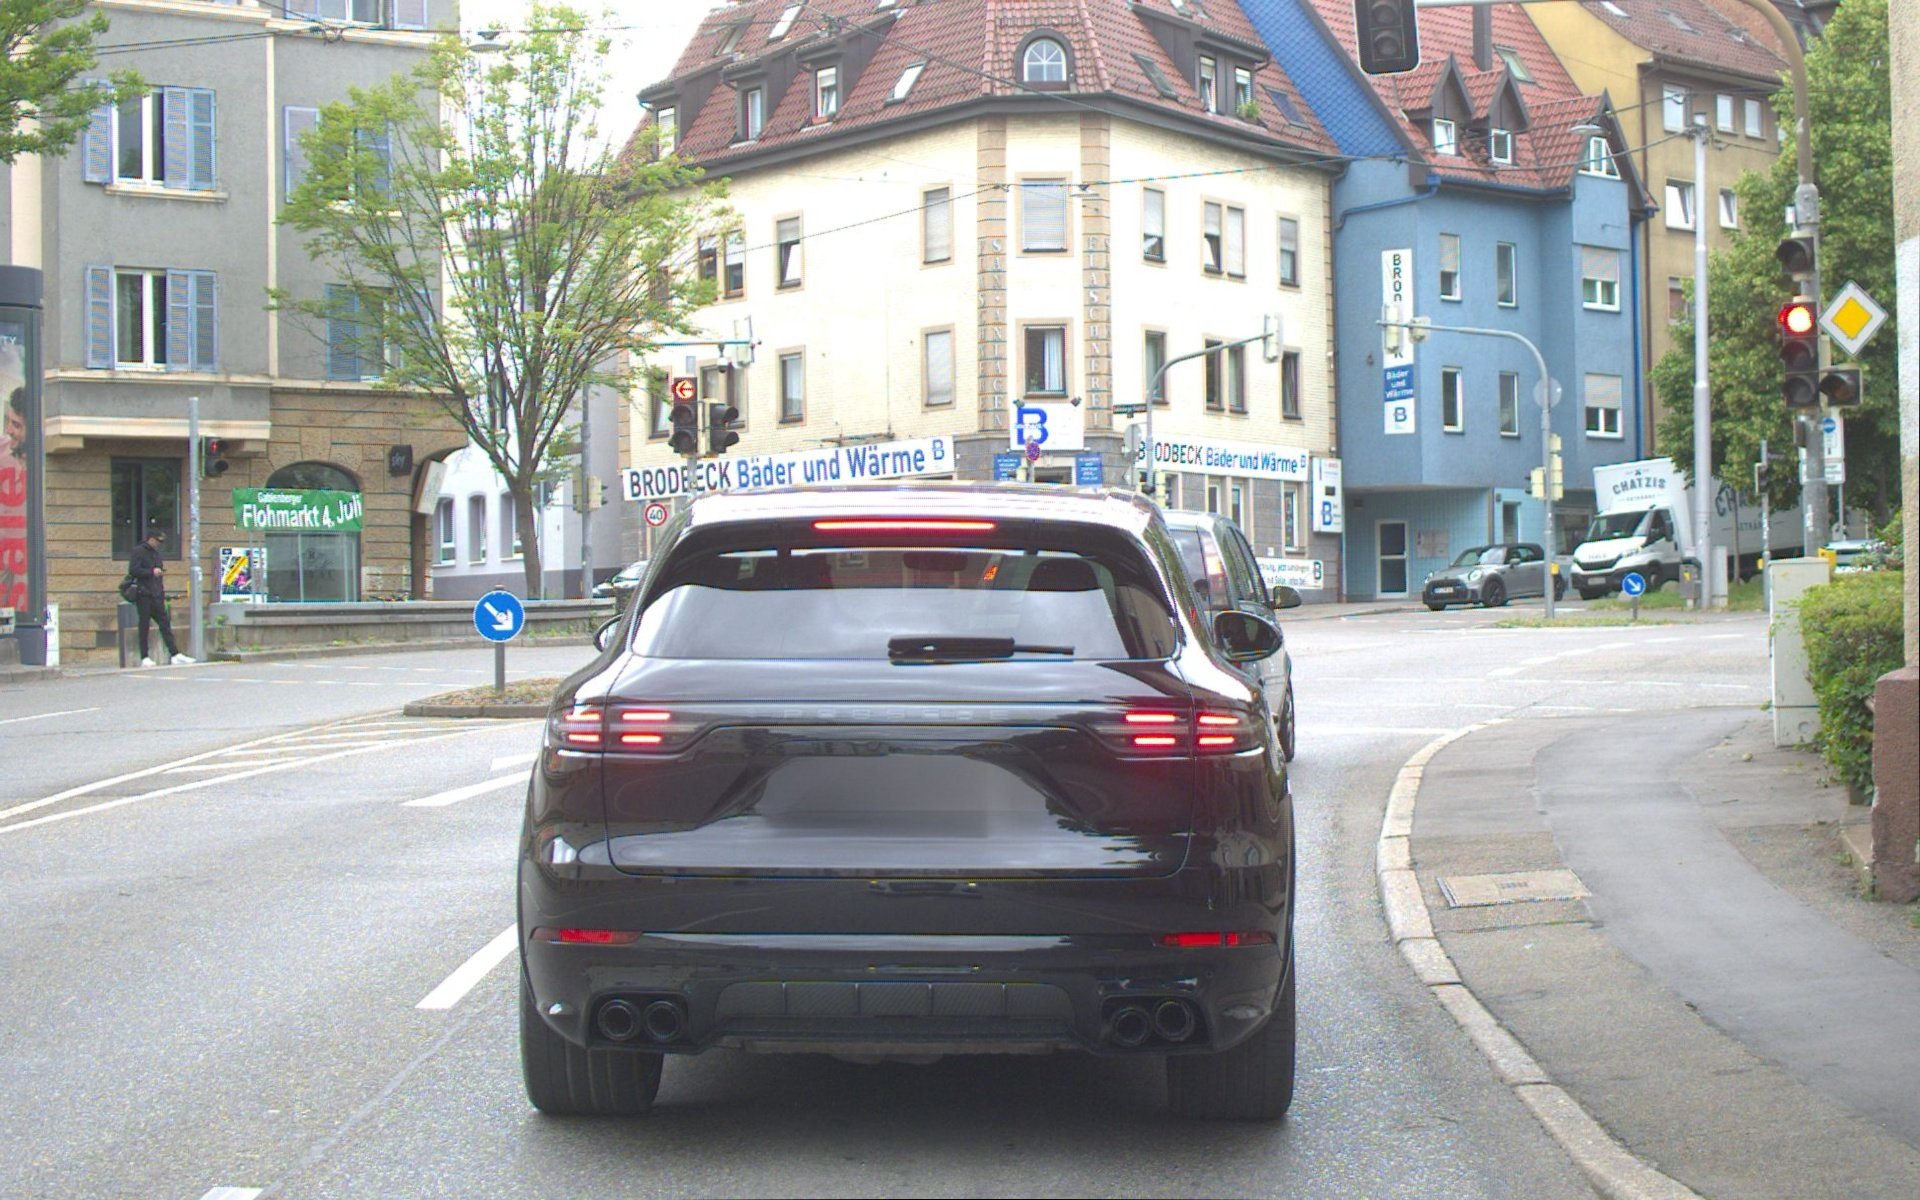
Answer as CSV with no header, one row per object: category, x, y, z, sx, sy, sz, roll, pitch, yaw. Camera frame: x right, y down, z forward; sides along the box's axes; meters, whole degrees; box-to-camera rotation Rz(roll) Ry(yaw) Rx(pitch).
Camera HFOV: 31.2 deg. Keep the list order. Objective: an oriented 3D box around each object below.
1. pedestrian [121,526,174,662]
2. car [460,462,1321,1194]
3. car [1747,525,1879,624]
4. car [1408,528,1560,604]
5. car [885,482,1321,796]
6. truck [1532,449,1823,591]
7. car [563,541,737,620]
pedestrian,-10.413,-0.077,44.083,0.513,1.724,0.451,2,0,3
car,-0.222,0.471,9.946,1.978,1.678,4.001,0,2,-2
car,15.031,-0.458,60.756,1.994,1.678,3.998,0,1,10
car,11.934,-0.781,78.111,1.997,1.678,3.993,0,1,32
car,0.968,0.186,20.552,1.994,1.678,3.998,0,1,11
truck,17.956,-1.944,85.552,2.880,3.328,8.771,2,1,43
car,-6.778,-0.423,74.864,1.994,1.678,3.999,0,0,-36
